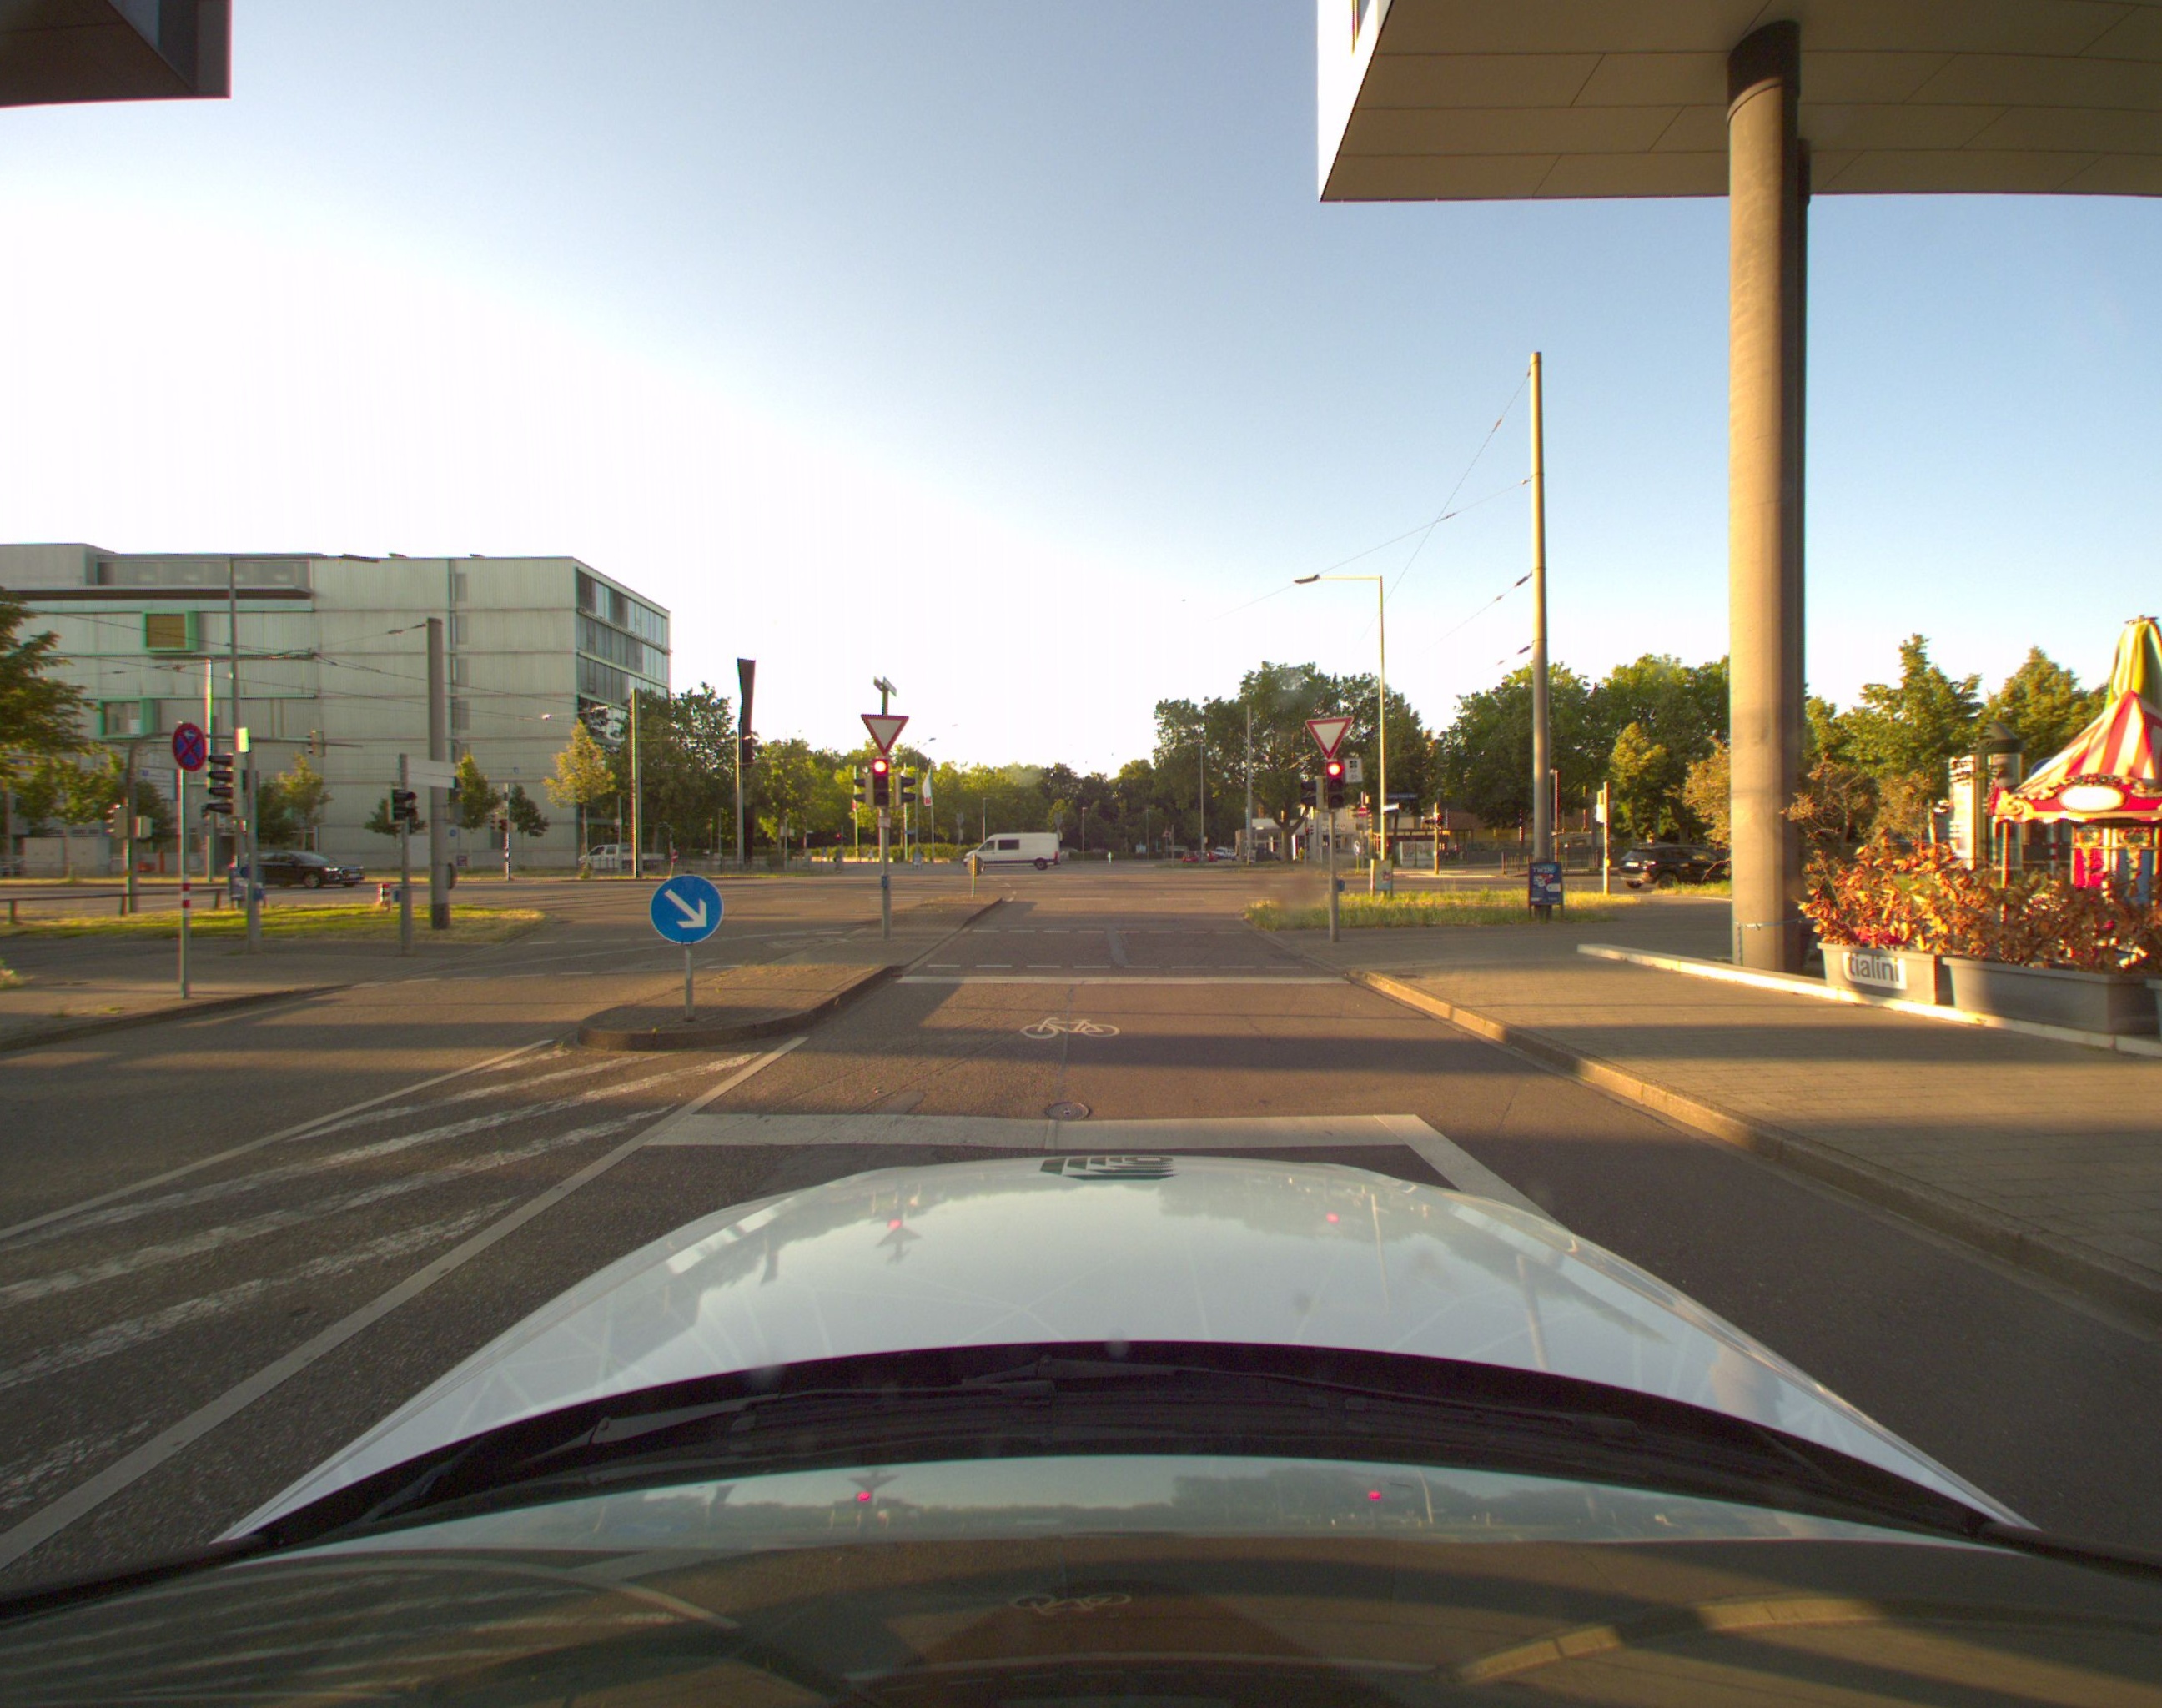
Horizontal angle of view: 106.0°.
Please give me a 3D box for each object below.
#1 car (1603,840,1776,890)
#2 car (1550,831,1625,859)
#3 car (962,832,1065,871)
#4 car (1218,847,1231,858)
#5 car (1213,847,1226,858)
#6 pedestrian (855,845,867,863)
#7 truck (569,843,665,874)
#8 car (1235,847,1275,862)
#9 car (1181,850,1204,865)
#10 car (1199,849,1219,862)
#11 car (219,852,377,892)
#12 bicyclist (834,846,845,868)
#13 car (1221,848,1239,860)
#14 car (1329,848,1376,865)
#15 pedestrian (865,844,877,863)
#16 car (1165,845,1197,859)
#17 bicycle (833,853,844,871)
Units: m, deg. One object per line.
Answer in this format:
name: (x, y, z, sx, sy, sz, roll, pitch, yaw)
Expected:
car: (20.461, 0.354, 27.502, 4.423, 1.574, 1.998, -1, 0, -2)
car: (47.849, -0.838, 77.064, 5.561, 2.551, 2.235, -1, 0, 9)
car: (-4.701, -0.164, 57.486, 6.892, 2.636, 2.812, -1, -1, 1)
car: (23.947, -0.248, 135.744, 1.849, 1.794, 4.015, -1, -1, 14)
car: (22.283, -0.241, 130.886, 1.850, 1.794, 4.013, -1, -1, 12)
pedestrian: (-21.178, 0.000, 78.352, 0.835, 1.744, 0.852, -1, 0, -42)
truck: (-32.851, 0.317, 57.745, 5.539, 2.054, 2.067, -1, 0, -1)
car: (18.931, 0.019, 88.907, 4.194, 1.552, 2.005, -1, -1, 9)
car: (13.113, 0.384, 95.567, 1.978, 1.662, 4.018, -1, -1, 17)
car: (16.217, 0.222, 103.187, 1.978, 1.662, 4.018, -1, -1, 17)
car: (-32.506, 0.739, 33.909, 4.467, 1.557, 1.986, -1, 0, -4)
bicyclist: (-18.976, 0.236, 63.868, 0.753, 1.709, 0.914, -1, 0, -20)
car: (21.099, 0.007, 115.306, 1.978, 1.662, 4.018, -1, -1, 17)
car: (23.883, 0.229, 71.820, 3.715, 1.440, 1.669, -1, -1, 11)
pedestrian: (-20.438, -0.048, 79.194, 0.852, 1.744, 0.835, 0, 0, 42)
car: (15.428, -0.324, 125.737, 4.753, 2.006, 2.002, -1, -1, 3)
bicycle: (-19.048, 0.592, 64.023, 0.732, 1.341, 2.673, -1, 0, -19)
